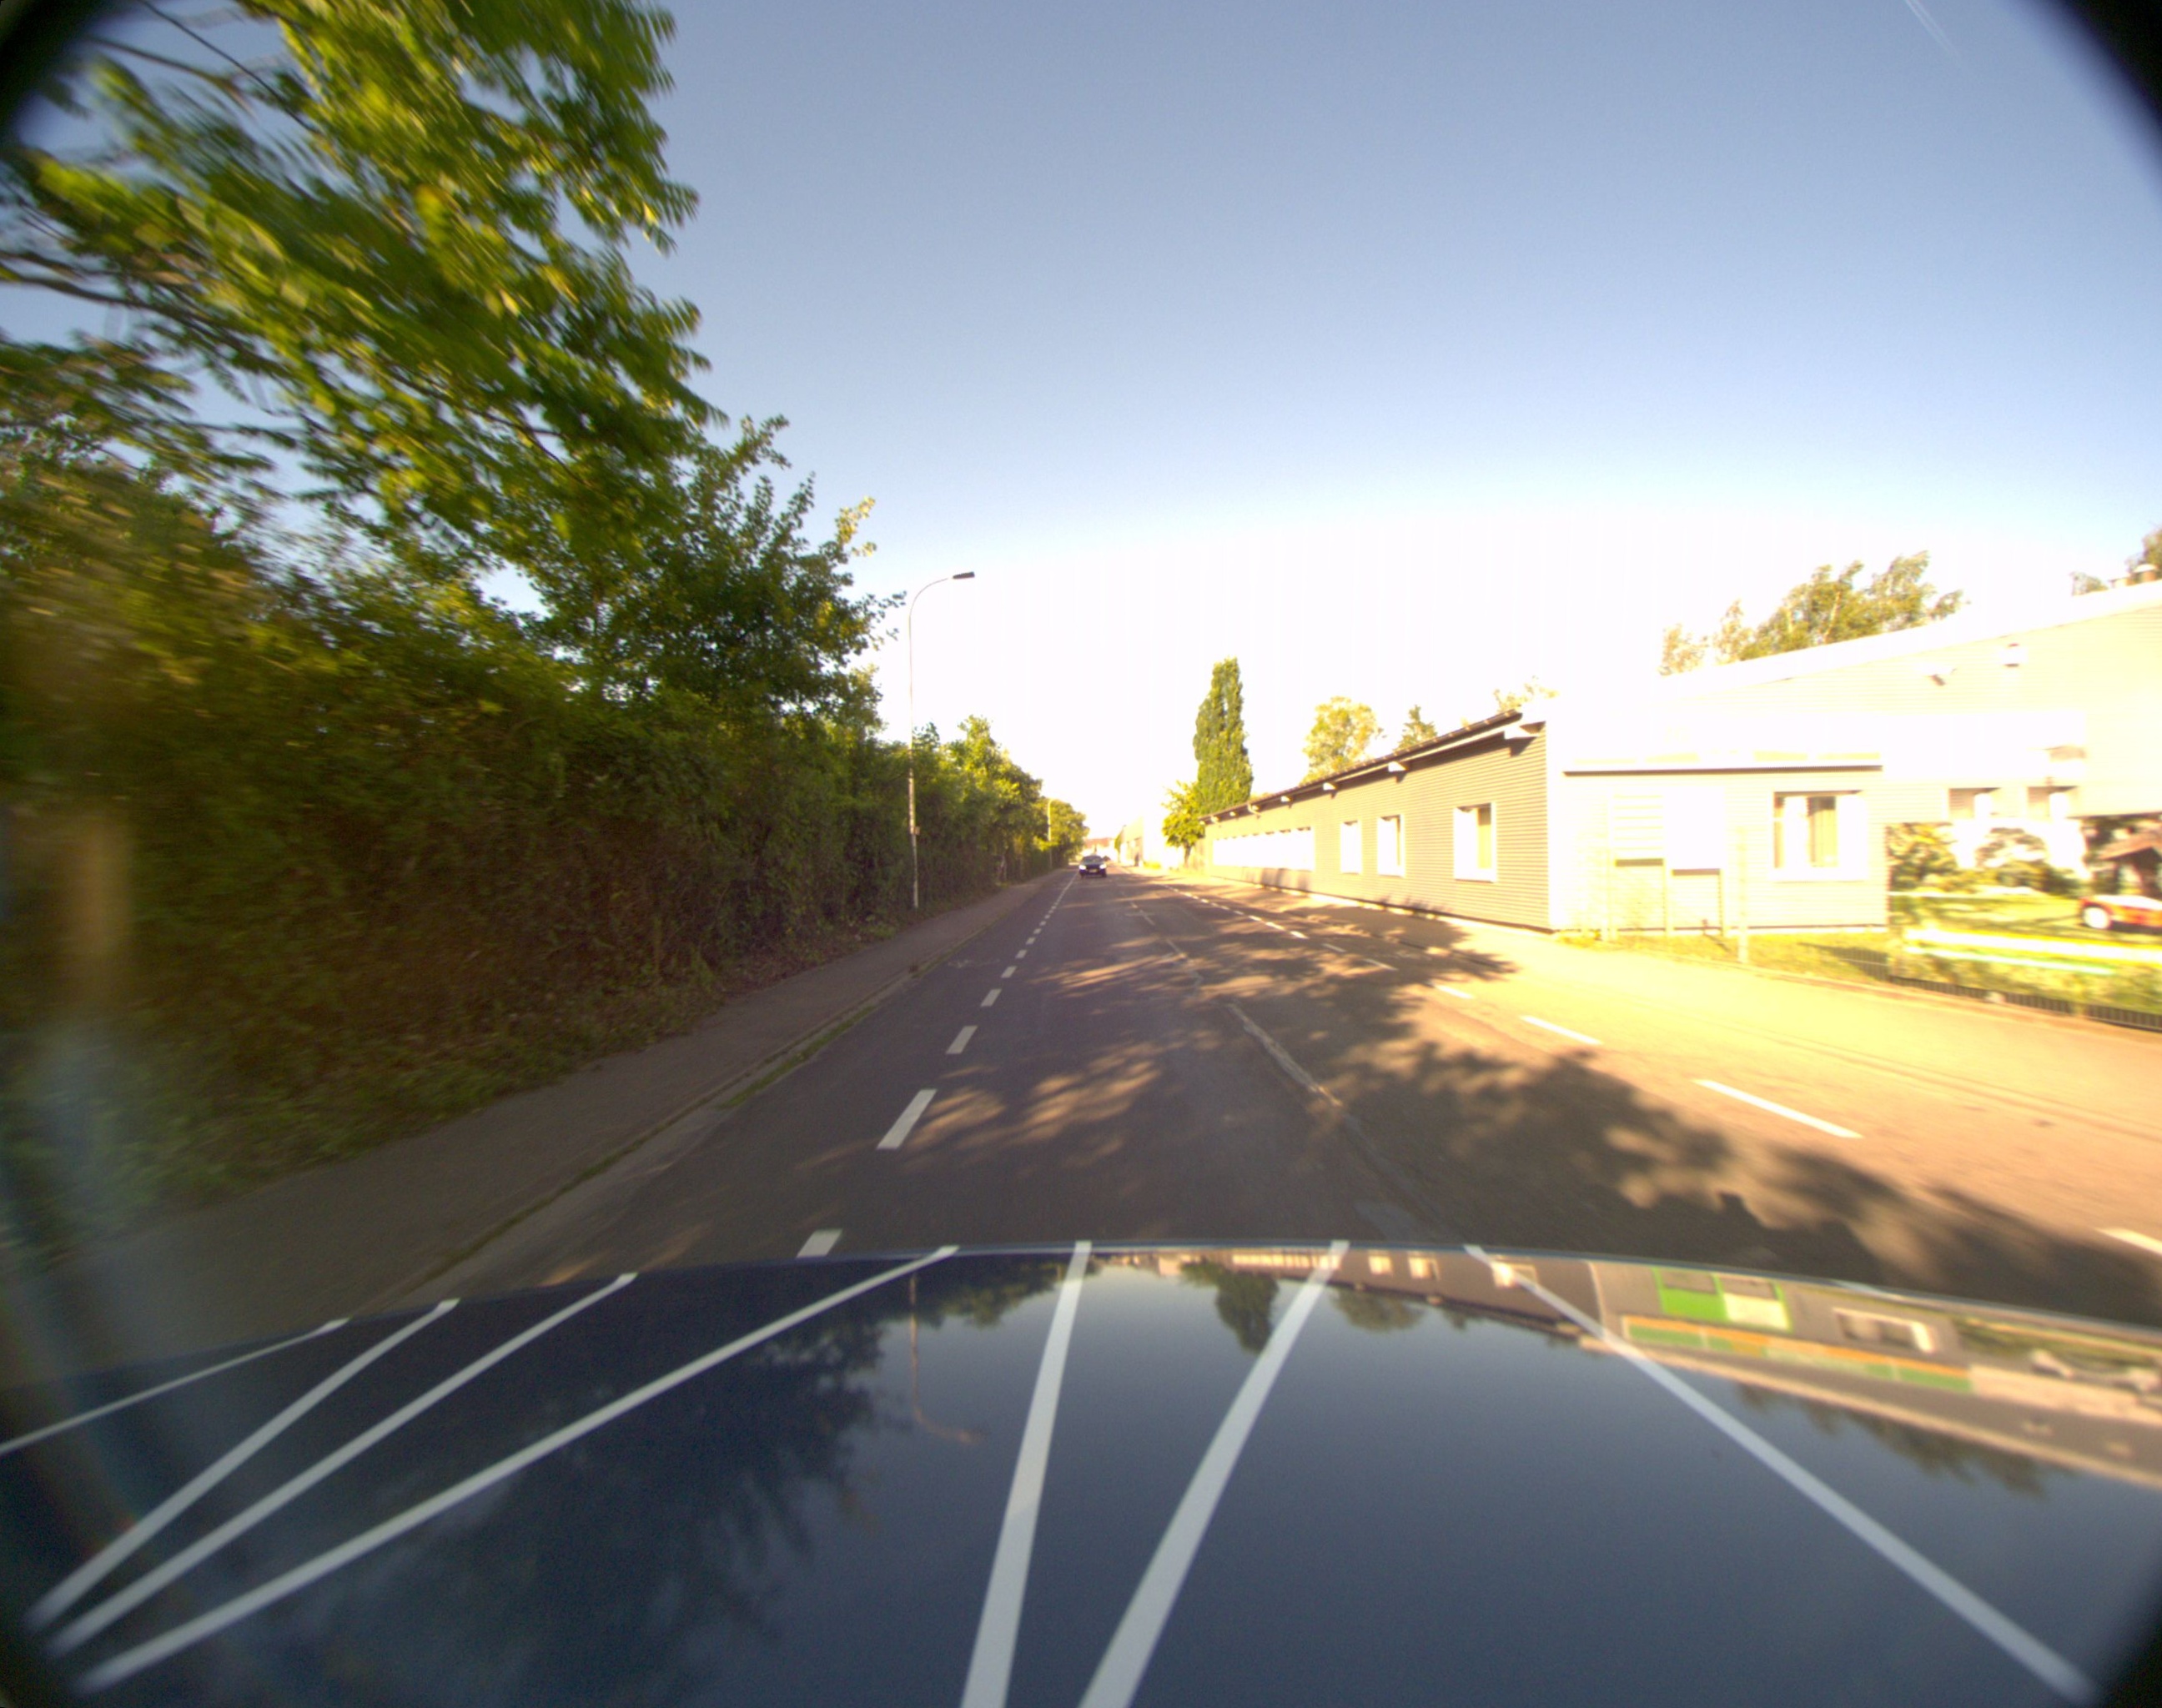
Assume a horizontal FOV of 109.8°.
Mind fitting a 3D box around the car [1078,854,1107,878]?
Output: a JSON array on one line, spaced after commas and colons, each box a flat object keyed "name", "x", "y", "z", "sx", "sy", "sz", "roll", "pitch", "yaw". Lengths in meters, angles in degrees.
[{"name": "car", "x": 0.795, "y": 0.829, "z": 54.991, "sx": 1.998, "sy": 1.608, "sz": 4.000, "roll": -1, "pitch": 0, "yaw": 0}]
